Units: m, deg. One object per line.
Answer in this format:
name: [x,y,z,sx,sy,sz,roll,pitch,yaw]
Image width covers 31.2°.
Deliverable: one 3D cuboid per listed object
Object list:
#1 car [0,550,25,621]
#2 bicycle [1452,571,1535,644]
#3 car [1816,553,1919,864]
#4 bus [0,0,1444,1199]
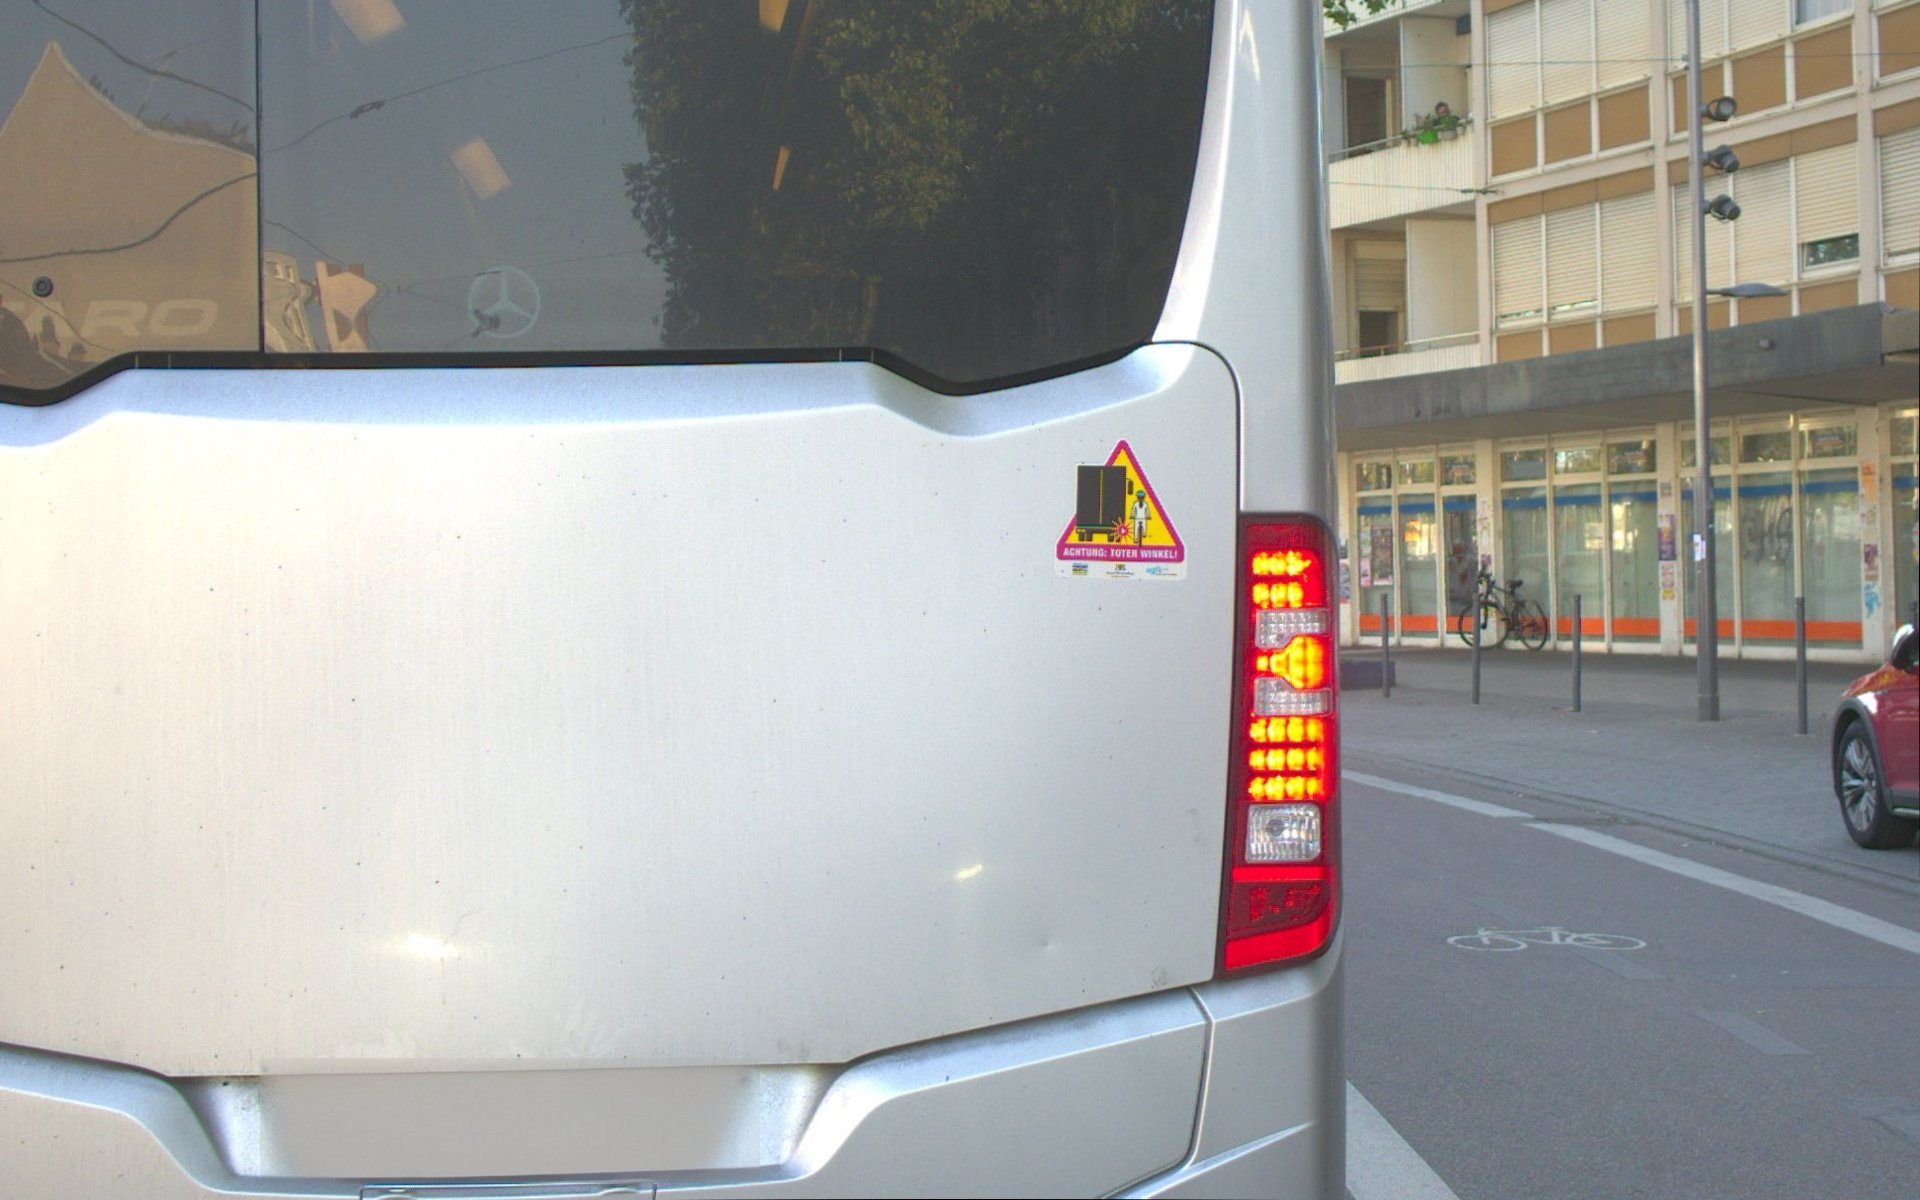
car: [-25.800,-0.383,88.076,1.994,1.785,3.998,1,0,-41]
bicycle: [7.079,0.092,45.648,0.412,0.941,1.441,-1,1,-20]
car: [5.533,0.505,15.853,1.769,1.477,4.304,-2,1,-4]
bus: [-0.707,-0.142,9.794,2.630,3.017,9.998,0,1,-1]
